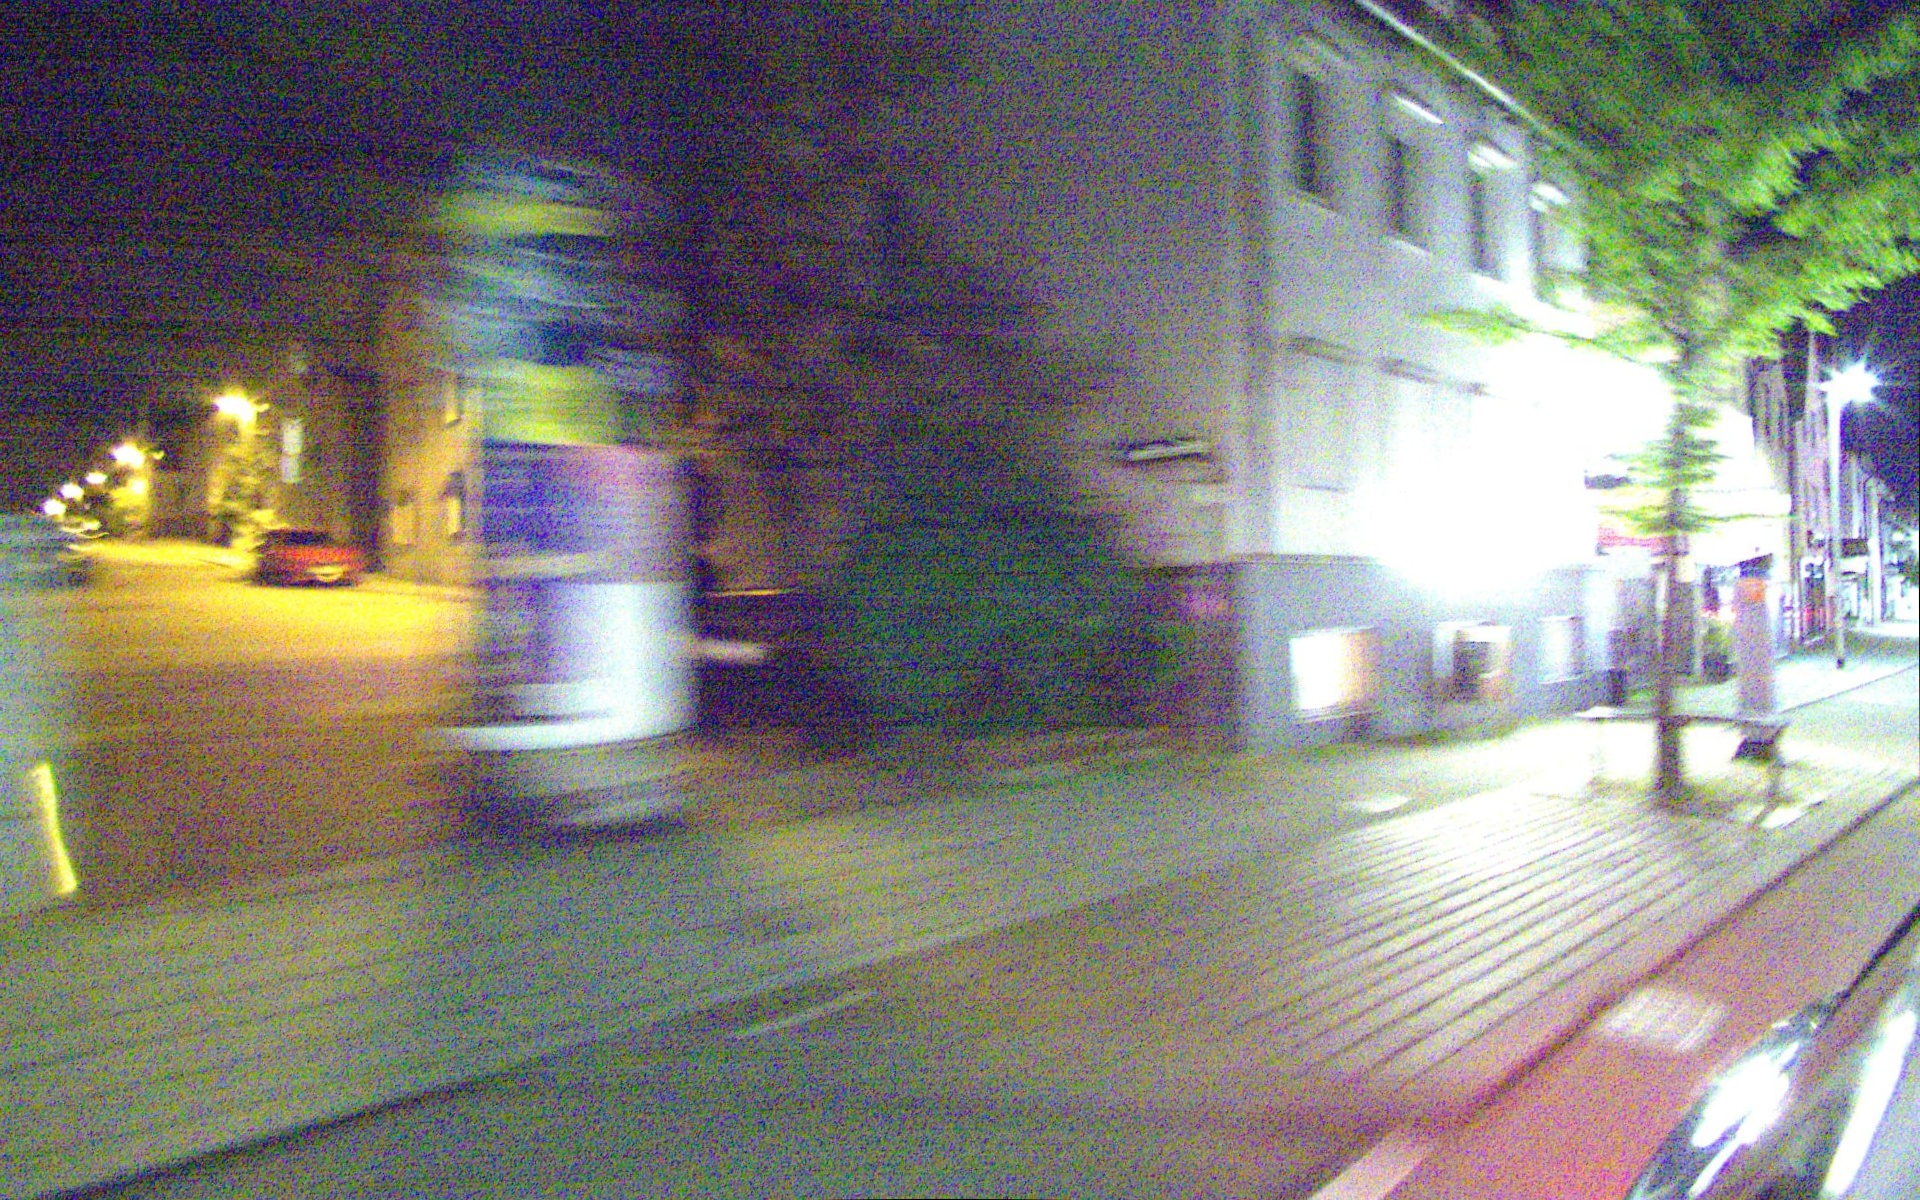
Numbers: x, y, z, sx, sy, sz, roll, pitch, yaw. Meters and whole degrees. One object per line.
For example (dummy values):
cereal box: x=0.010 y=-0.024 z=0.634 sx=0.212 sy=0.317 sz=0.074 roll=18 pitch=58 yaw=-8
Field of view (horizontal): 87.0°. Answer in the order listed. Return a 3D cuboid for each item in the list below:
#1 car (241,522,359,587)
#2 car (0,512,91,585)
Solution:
car: x=-16.426 y=-1.156 z=25.113 sx=1.700 sy=1.417 sz=4.098 roll=-1 pitch=4 yaw=-44
car: x=-20.466 y=-1.173 z=22.356 sx=1.700 sy=1.452 sz=3.803 roll=-1 pitch=4 yaw=-44
